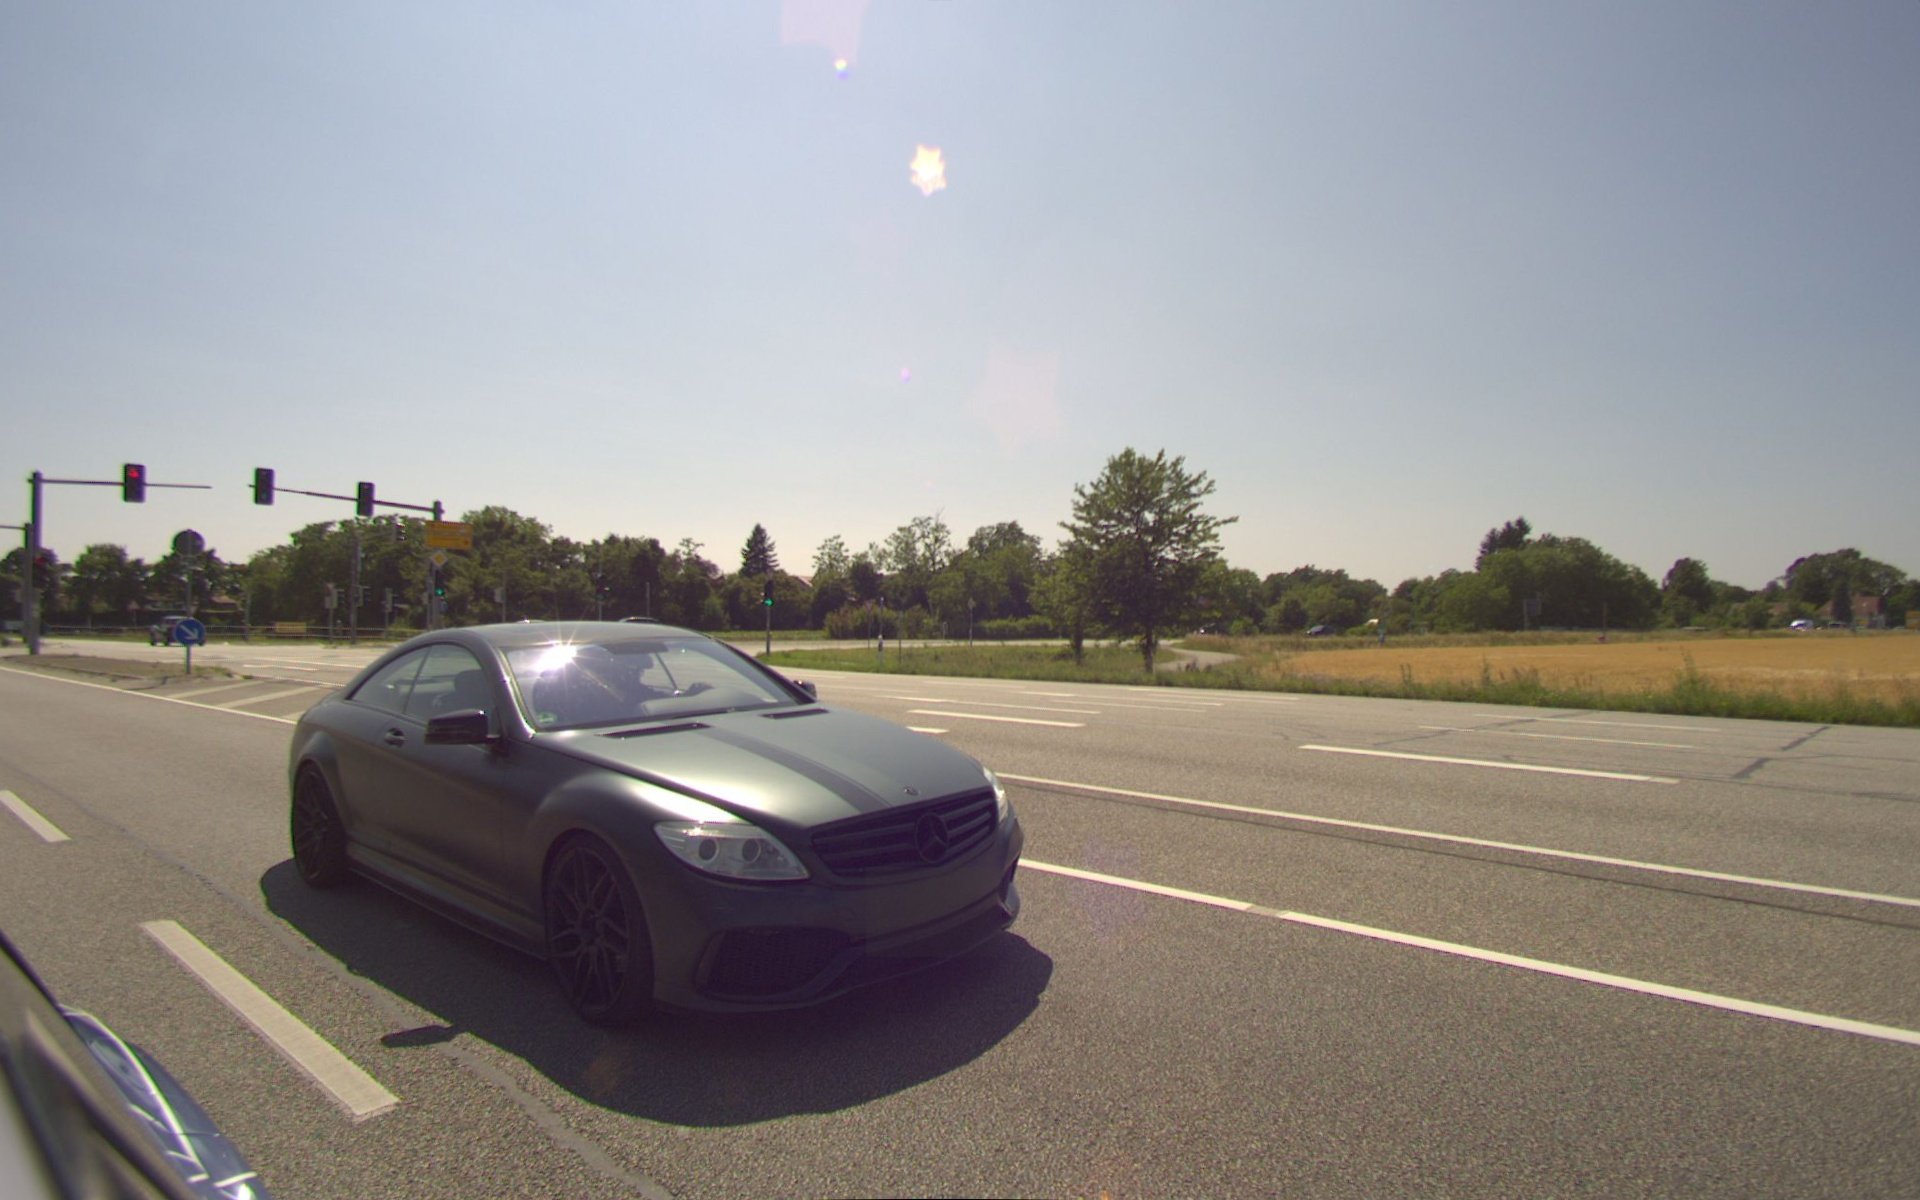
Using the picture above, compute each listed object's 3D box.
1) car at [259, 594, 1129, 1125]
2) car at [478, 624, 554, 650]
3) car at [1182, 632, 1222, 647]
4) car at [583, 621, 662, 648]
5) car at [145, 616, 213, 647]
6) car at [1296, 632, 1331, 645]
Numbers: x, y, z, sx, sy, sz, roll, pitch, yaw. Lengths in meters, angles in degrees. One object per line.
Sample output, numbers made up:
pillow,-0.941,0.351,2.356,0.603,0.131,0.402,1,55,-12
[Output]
car,-1.732,0.756,5.090,4.874,1.461,1.792,-1,0,41
car,-25.634,2.128,58.470,3.816,1.397,1.639,0,-2,-36
car,22.478,3.702,94.045,3.711,1.397,1.504,2,-2,-34
car,-20.699,2.154,62.067,4.296,1.606,1.639,2,-2,-34
car,-42.269,1.678,54.776,4.298,1.612,1.813,0,-2,37
car,37.775,4.146,108.116,3.711,1.397,1.504,2,-2,-34
